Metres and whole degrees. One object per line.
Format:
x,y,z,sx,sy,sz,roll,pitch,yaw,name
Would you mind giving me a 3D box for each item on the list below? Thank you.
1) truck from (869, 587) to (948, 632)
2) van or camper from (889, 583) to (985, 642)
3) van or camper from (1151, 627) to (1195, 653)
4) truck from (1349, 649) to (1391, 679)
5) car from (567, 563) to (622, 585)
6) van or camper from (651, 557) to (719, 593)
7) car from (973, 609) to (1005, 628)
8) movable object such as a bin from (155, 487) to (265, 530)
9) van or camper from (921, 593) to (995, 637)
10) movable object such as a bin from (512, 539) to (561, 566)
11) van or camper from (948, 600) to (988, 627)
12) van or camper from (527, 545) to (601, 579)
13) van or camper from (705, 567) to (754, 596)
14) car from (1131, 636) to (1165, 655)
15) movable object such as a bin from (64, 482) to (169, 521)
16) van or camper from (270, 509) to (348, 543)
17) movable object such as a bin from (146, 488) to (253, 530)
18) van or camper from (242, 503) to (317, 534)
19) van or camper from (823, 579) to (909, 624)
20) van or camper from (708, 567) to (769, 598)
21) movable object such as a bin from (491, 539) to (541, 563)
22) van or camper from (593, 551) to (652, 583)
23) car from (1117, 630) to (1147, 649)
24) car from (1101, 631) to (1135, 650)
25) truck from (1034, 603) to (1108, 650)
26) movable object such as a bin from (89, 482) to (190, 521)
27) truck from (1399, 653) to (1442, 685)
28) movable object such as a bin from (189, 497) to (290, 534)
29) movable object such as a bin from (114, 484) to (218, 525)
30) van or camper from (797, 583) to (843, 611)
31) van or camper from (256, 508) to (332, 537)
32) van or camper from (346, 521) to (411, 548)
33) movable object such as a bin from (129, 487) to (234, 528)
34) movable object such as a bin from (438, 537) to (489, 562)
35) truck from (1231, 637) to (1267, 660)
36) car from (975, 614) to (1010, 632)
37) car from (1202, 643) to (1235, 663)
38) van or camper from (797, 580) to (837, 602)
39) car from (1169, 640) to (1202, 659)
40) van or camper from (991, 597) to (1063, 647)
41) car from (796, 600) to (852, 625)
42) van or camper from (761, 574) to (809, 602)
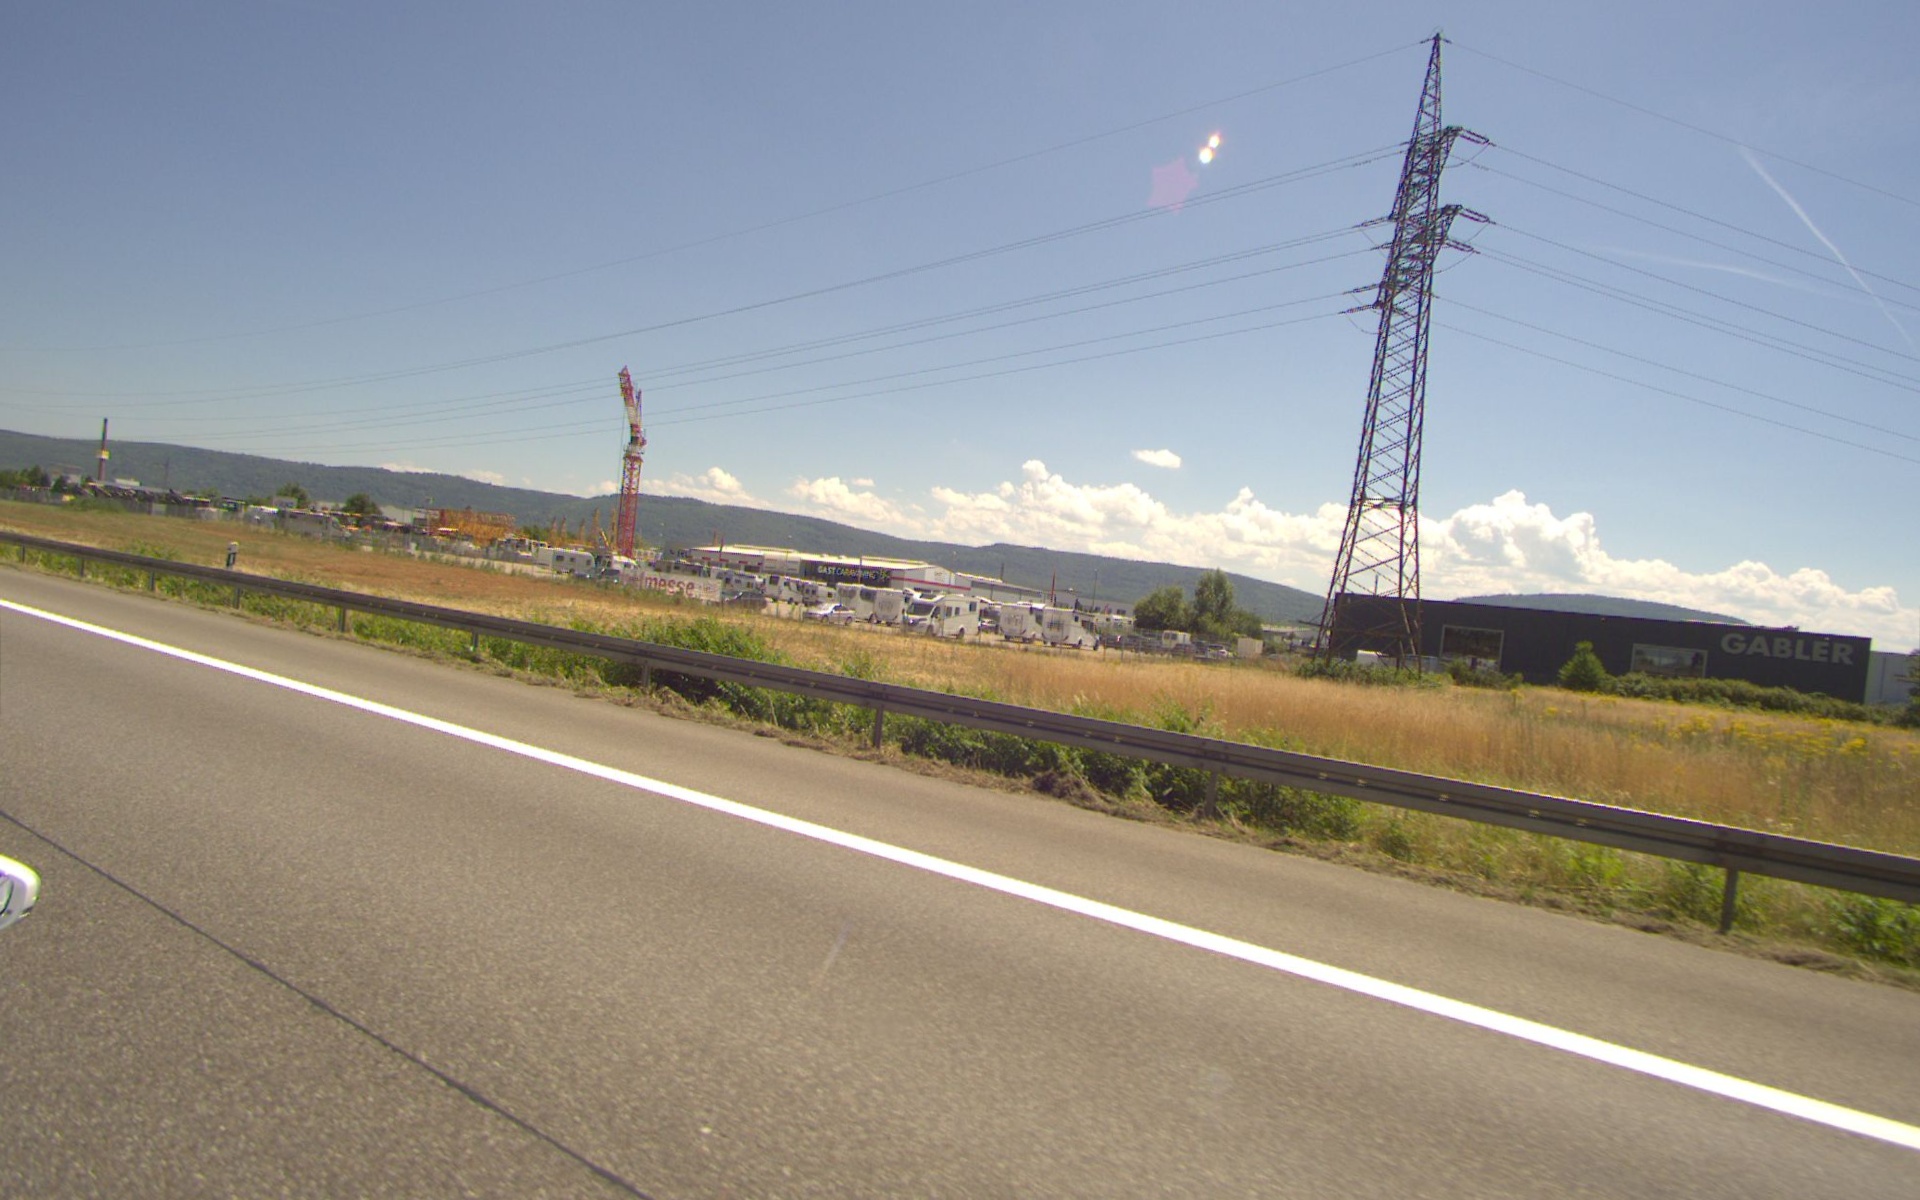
-4.009,0.799,80.709,2.558,2.916,7.756,7,-1,27,truck
-1.374,0.880,65.753,2.393,3.139,7.752,7,-1,29,van or camper
22.451,4.202,105.895,2.713,2.285,6.222,7,0,28,van or camper
38.702,6.031,94.847,2.531,2.477,6.137,7,0,31,truck
-28.918,-2.048,79.725,1.559,1.314,3.896,7,0,29,car
-26.996,-2.432,99.154,2.381,2.801,6.454,7,0,30,van or camper
3.665,2.303,126.716,2.110,2.039,4.277,7,0,28,car
-88.420,-10.726,118.848,3.367,3.736,9.709,7,1,37,movable object such as a bin
-0.033,1.294,81.771,2.558,2.916,7.756,7,-1,27,van or camper
-59.768,-6.716,141.885,6.695,3.068,2.914,6,1,32,movable object such as a bin
1.115,1.757,130.480,2.461,2.933,5.948,7,0,28,van or camper
-41.438,-3.953,105.397,3.269,2.711,6.359,7,0,30,van or camper
-26.394,-2.091,115.413,2.570,2.799,5.270,7,0,24,van or camper
16.759,4.058,89.609,1.670,1.370,3.994,7,-1,29,car
-111.063,-12.902,132.652,2.354,3.736,10.260,6,1,31,movable object such as a bin
-68.172,-7.717,105.483,2.398,2.584,6.347,7,0,33,van or camper
-91.231,-10.894,120.838,2.931,3.736,9.708,7,1,37,movable object such as a bin
-73.597,-8.742,108.886,2.560,2.432,6.120,7,0,33,van or camper
-7.568,0.189,82.158,3.101,2.916,7.756,7,-1,27,van or camper
-21.110,-1.660,96.237,2.505,2.338,5.650,7,0,27,van or camper
-61.377,-6.741,139.061,6.695,2.587,2.914,6,1,32,movable object such as a bin
-34.925,-3.393,104.268,2.572,2.711,5.264,7,0,30,van or camper
18.540,4.235,108.092,1.740,1.654,4.239,7,-1,29,car
14.300,3.706,90.923,1.670,1.370,3.994,7,-1,29,car
8.509,2.099,76.204,2.725,2.916,7.756,7,-1,27,truck
-107.215,-12.791,131.673,2.634,3.736,9.723,6,1,31,movable object such as a bin
42.334,6.333,92.398,2.531,2.477,6.778,7,0,31,truck
-82.323,-9.633,115.109,3.166,3.045,8.721,6,1,37,movable object such as a bin
-98.889,-11.839,125.477,2.591,3.736,9.718,6,1,33,movable object such as a bin
-15.577,-0.333,111.892,2.377,2.588,5.326,7,0,24,van or camper
-71.068,-8.265,107.490,2.560,2.248,6.120,7,0,33,van or camper
-70.289,-7.876,121.666,2.560,2.432,6.120,7,0,33,van or camper
-95.504,-11.306,123.635,2.928,3.737,9.718,7,1,33,movable object such as a bin
-65.863,-6.693,133.380,6.695,2.587,2.914,6,1,32,movable object such as a bin
29.421,4.924,102.336,2.342,2.022,5.149,7,0,28,truck
3.202,2.283,98.378,1.670,1.430,3.994,7,-1,29,car
22.347,4.589,86.937,1.692,1.370,3.994,7,-1,29,car
-18.371,-1.113,129.829,2.336,2.322,5.267,7,0,27,van or camper
19.872,4.354,88.675,1.670,1.370,3.994,7,-1,29,car
5.305,1.792,78.073,2.627,3.232,7.759,7,-1,25,van or camper
-9.142,0.848,67.803,1.560,1.313,3.895,7,-1,32,car
-19.301,-1.287,111.179,2.377,2.588,5.326,7,0,24,van or camper
